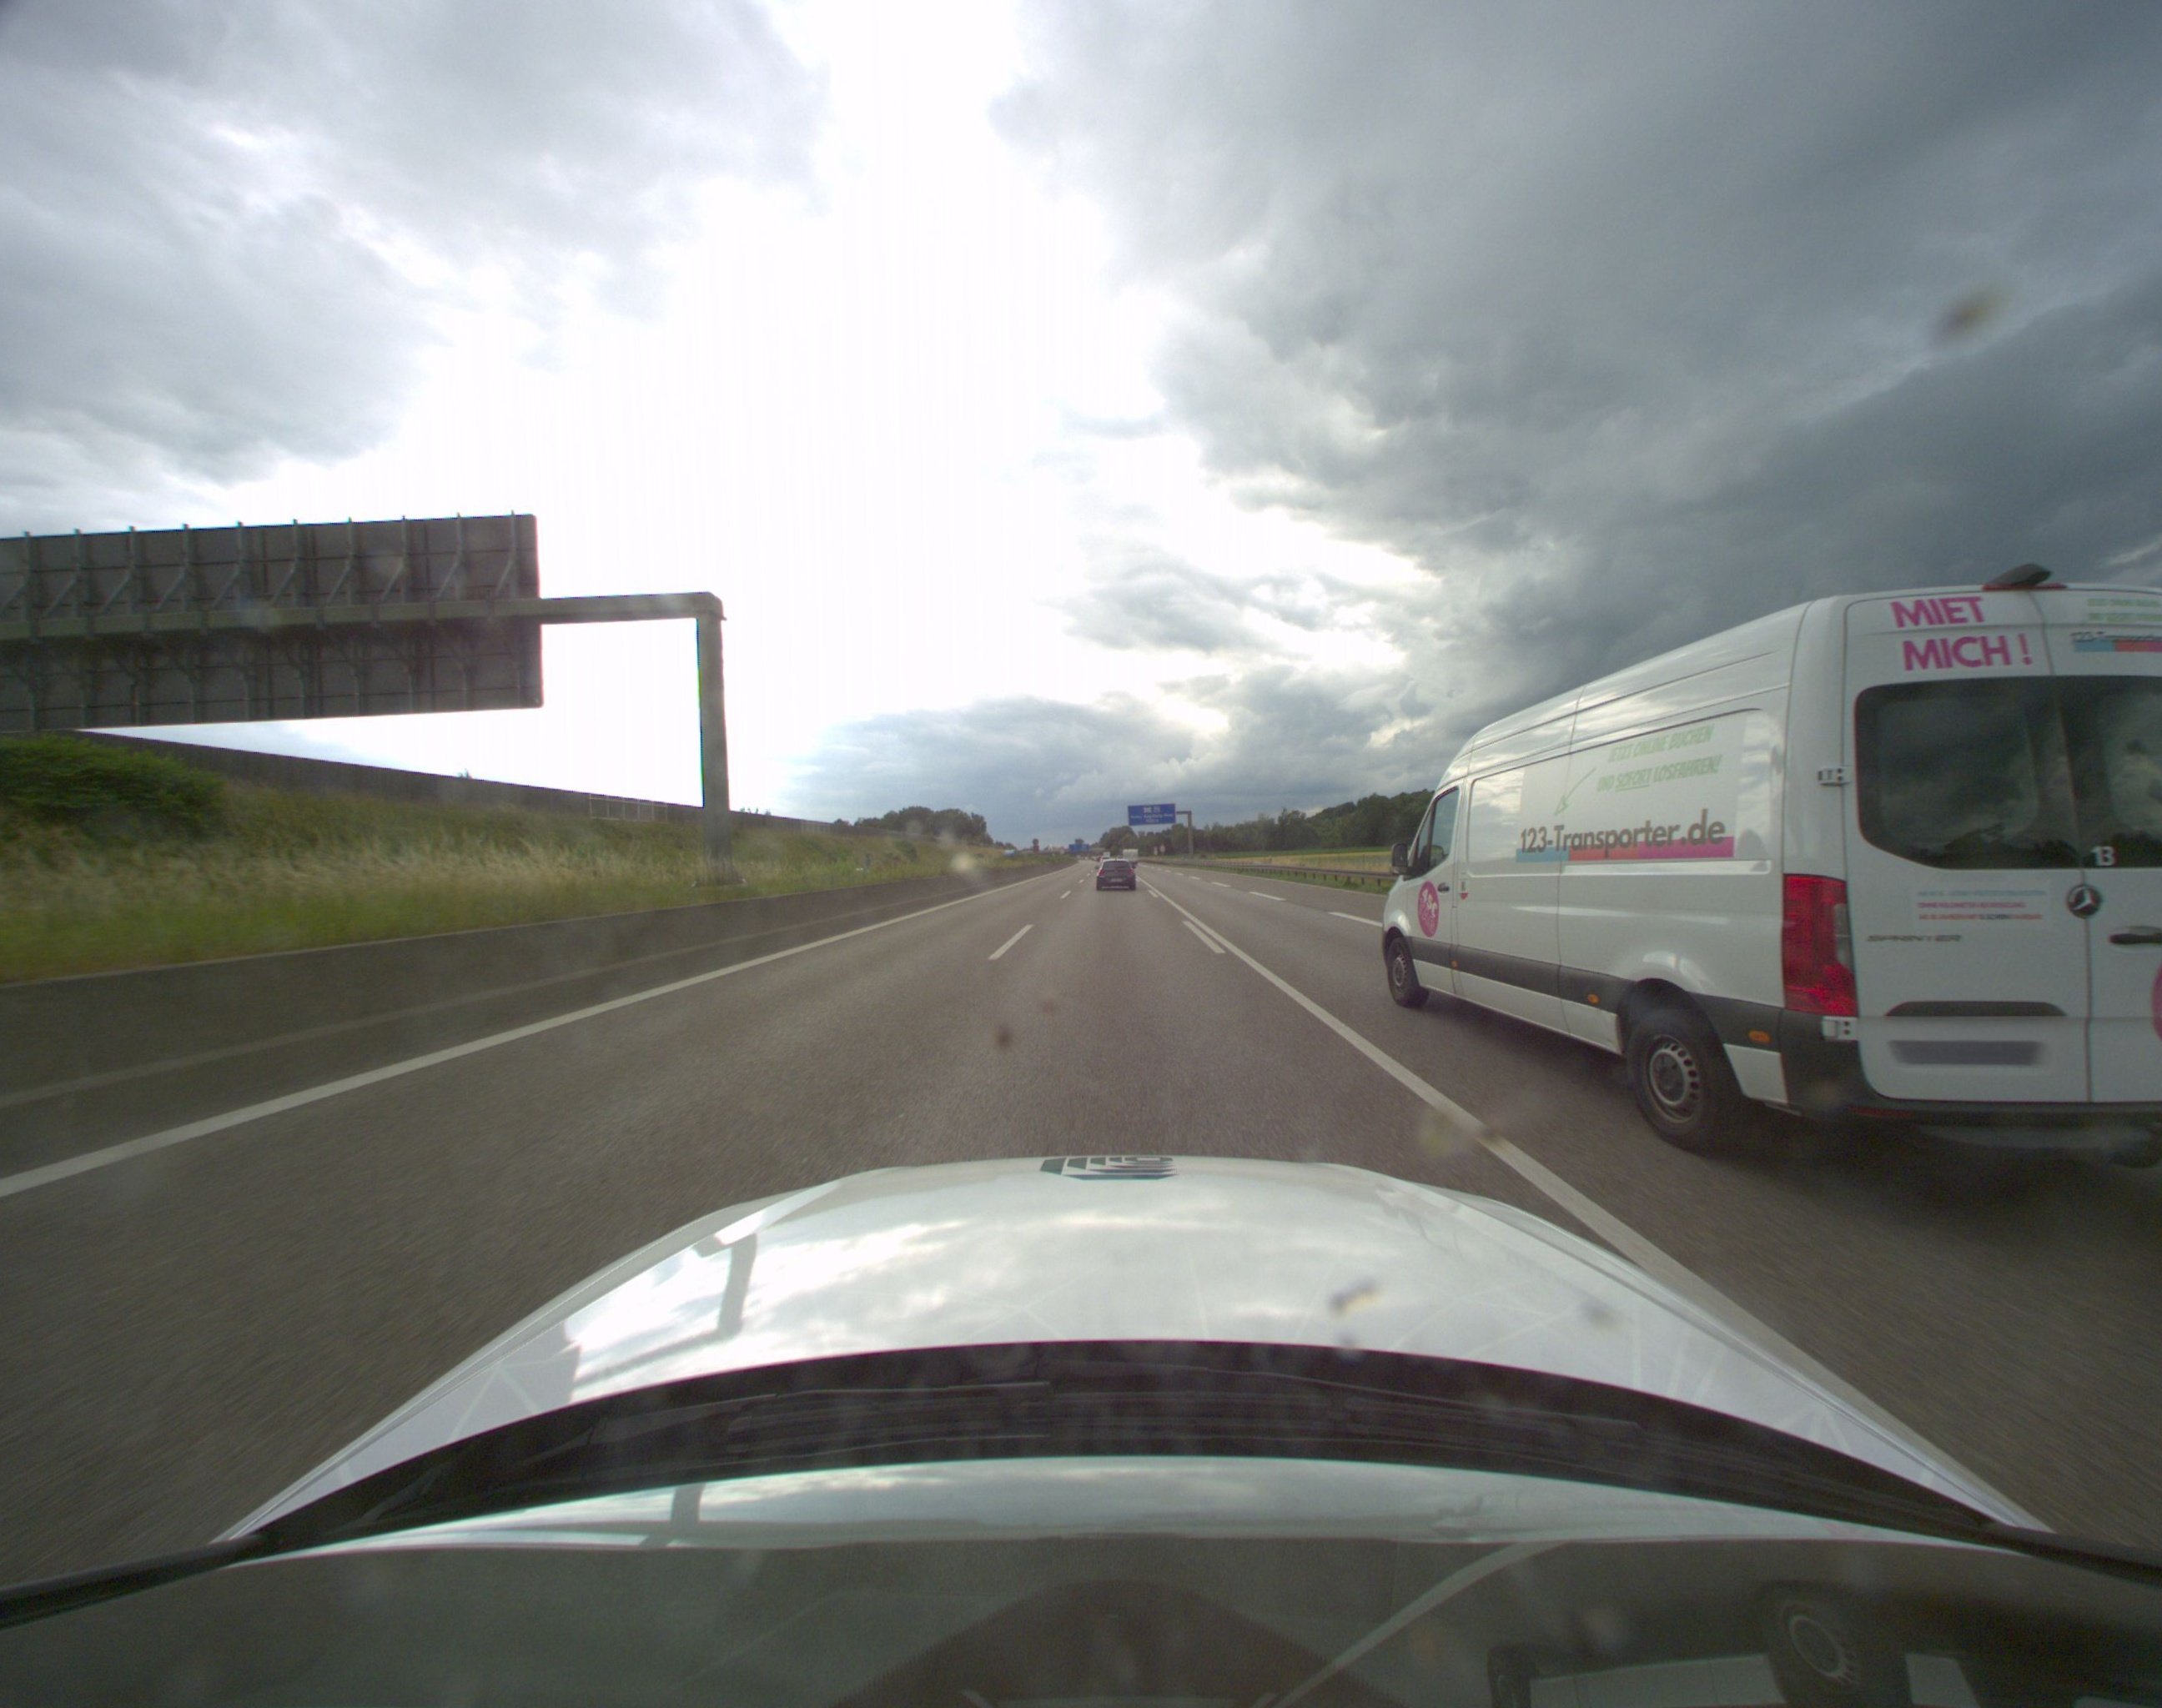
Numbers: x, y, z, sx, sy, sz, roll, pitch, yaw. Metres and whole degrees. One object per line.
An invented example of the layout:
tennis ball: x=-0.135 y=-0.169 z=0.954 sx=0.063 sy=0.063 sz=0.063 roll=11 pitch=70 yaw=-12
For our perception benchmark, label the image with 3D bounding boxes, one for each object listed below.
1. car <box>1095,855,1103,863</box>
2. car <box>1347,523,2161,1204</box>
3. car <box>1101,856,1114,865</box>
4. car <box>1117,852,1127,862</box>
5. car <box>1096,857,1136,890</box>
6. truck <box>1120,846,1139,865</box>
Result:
car: x=4.966 y=1.354 z=224.667 sx=1.986 sy=2.013 sz=4.001 roll=-3 pitch=0 yaw=1
car: x=4.075 y=0.021 z=6.226 sx=2.212 sy=2.568 sz=6.259 roll=-1 pitch=0 yaw=2
car: x=4.202 y=1.087 z=130.632 sx=1.986 sy=1.298 sz=4.001 roll=-3 pitch=0 yaw=1
car: x=9.051 y=0.653 z=181.407 sx=1.986 sy=2.013 sz=4.001 roll=-3 pitch=0 yaw=1
car: x=1.590 y=0.861 z=37.446 sx=1.736 sy=1.389 sz=4.002 roll=-1 pitch=0 yaw=2
truck: x=7.872 y=0.253 z=133.911 sx=2.700 sy=2.964 sz=12.452 roll=0 pitch=0 yaw=2
